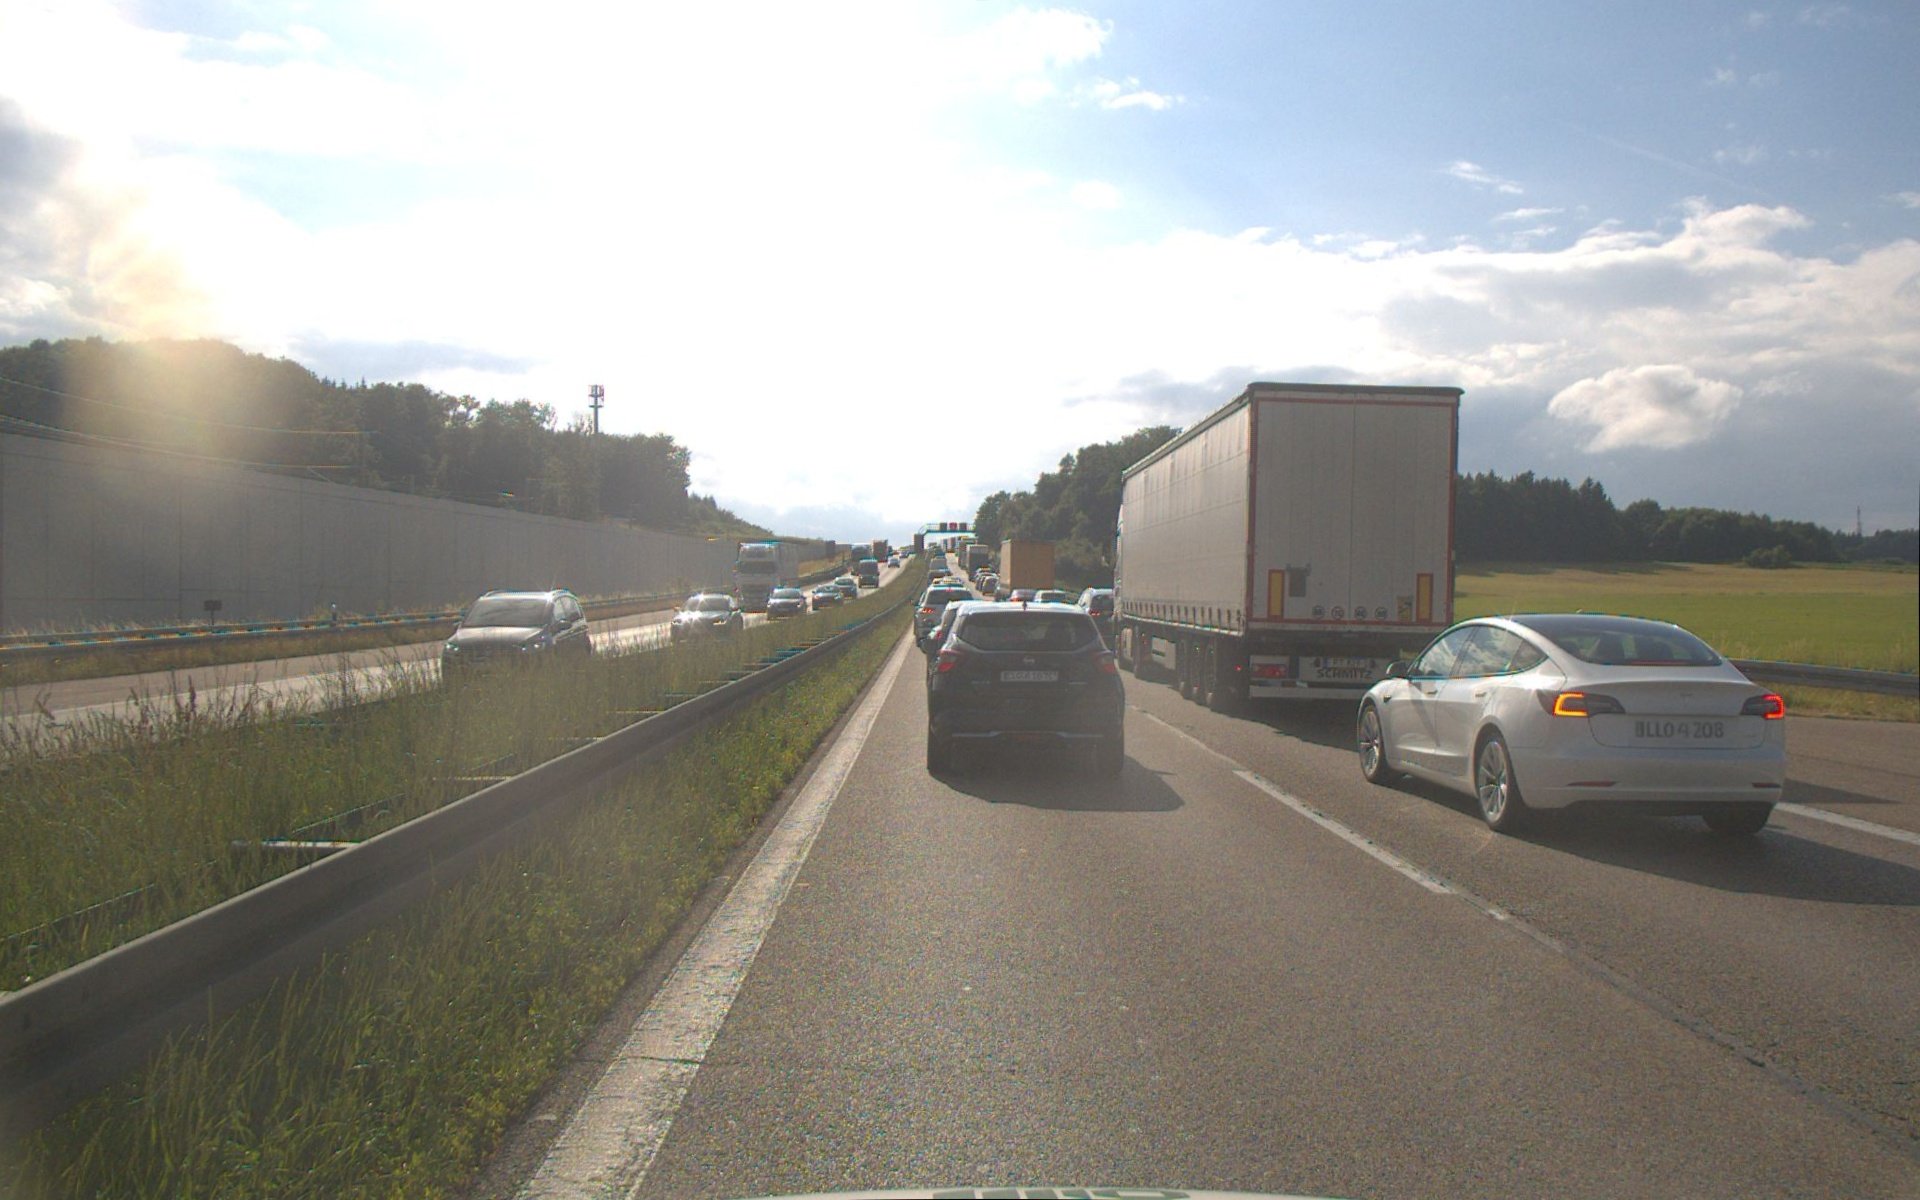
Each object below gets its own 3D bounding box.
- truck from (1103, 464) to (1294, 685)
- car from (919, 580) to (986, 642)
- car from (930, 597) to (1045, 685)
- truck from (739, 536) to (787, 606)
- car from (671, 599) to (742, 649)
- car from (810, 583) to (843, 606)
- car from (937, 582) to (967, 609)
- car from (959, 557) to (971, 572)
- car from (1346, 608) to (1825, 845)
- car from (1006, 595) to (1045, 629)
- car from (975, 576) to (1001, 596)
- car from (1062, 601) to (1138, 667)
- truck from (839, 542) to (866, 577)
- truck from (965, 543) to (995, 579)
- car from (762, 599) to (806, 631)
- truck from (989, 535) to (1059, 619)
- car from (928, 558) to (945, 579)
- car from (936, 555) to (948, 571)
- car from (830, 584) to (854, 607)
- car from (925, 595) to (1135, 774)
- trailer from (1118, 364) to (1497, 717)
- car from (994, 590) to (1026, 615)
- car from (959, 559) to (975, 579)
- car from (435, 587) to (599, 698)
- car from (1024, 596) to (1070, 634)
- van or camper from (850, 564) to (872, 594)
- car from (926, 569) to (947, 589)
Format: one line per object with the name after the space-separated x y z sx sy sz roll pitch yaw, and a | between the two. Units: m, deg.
4.673 -0.441 33.432 3.069 4.086 5.162 1 -1 0 | truck
-0.232 0.303 47.207 1.835 1.673 4.231 0 0 -1 | car
0.412 0.656 28.329 1.835 1.381 4.231 0 0 -1 | car
-12.234 -1.755 103.145 2.332 4.254 5.930 -1 0 -1 | truck
-8.045 0.753 52.836 1.663 1.525 4.425 0 0 -1 | car
-8.118 -0.315 101.111 1.706 1.381 4.231 0 0 -1 | car
-0.518 -0.306 105.537 1.835 1.673 4.232 0 1 -1 | car
0.740 -5.397 253.097 1.835 2.196 5.211 0 3 -1 | car
4.386 0.794 12.424 1.753 1.418 4.434 0 0 -3 | car
3.412 0.604 86.499 1.835 1.673 4.231 0 0 -1 | car
2.375 -1.203 142.024 1.836 1.673 4.229 0 1 -4 | car
3.631 0.857 43.580 1.663 1.639 4.436 0 0 0 | car
-15.067 -5.659 232.928 3.230 4.657 12.438 0 0 -1 | truck
2.683 -5.288 224.668 3.394 4.657 12.437 1 1 -2 | truck
-8.632 0.724 81.290 1.733 1.505 3.828 0 0 0 | car
3.742 -1.245 99.538 3.230 4.657 12.434 1 -1 -2 | truck
-2.686 -3.619 189.134 1.835 2.196 5.211 0 3 -1 | car
-2.764 -5.649 250.829 1.835 2.196 5.211 0 3 -1 | car
-9.155 -0.309 128.329 1.674 1.736 4.172 0 0 -2 | car
0.555 0.706 15.787 1.737 1.476 4.231 0 0 -1 | car
4.708 -0.583 26.006 3.066 4.081 13.364 1 -1 0 | trailer
3.344 0.146 110.892 1.836 1.673 4.230 0 0 -3 | car
0.843 -3.757 198.878 1.835 2.196 5.211 0 3 -1 | car
-7.535 0.684 28.501 1.744 1.767 4.101 0 0 -1 | car
3.993 0.682 76.513 1.835 1.673 4.231 0 0 -1 | car
-10.254 -2.159 171.474 2.047 2.869 5.894 1 -1 -1 | van or camper
-2.065 -1.885 144.895 1.835 1.673 4.231 0 1 -2 | car
